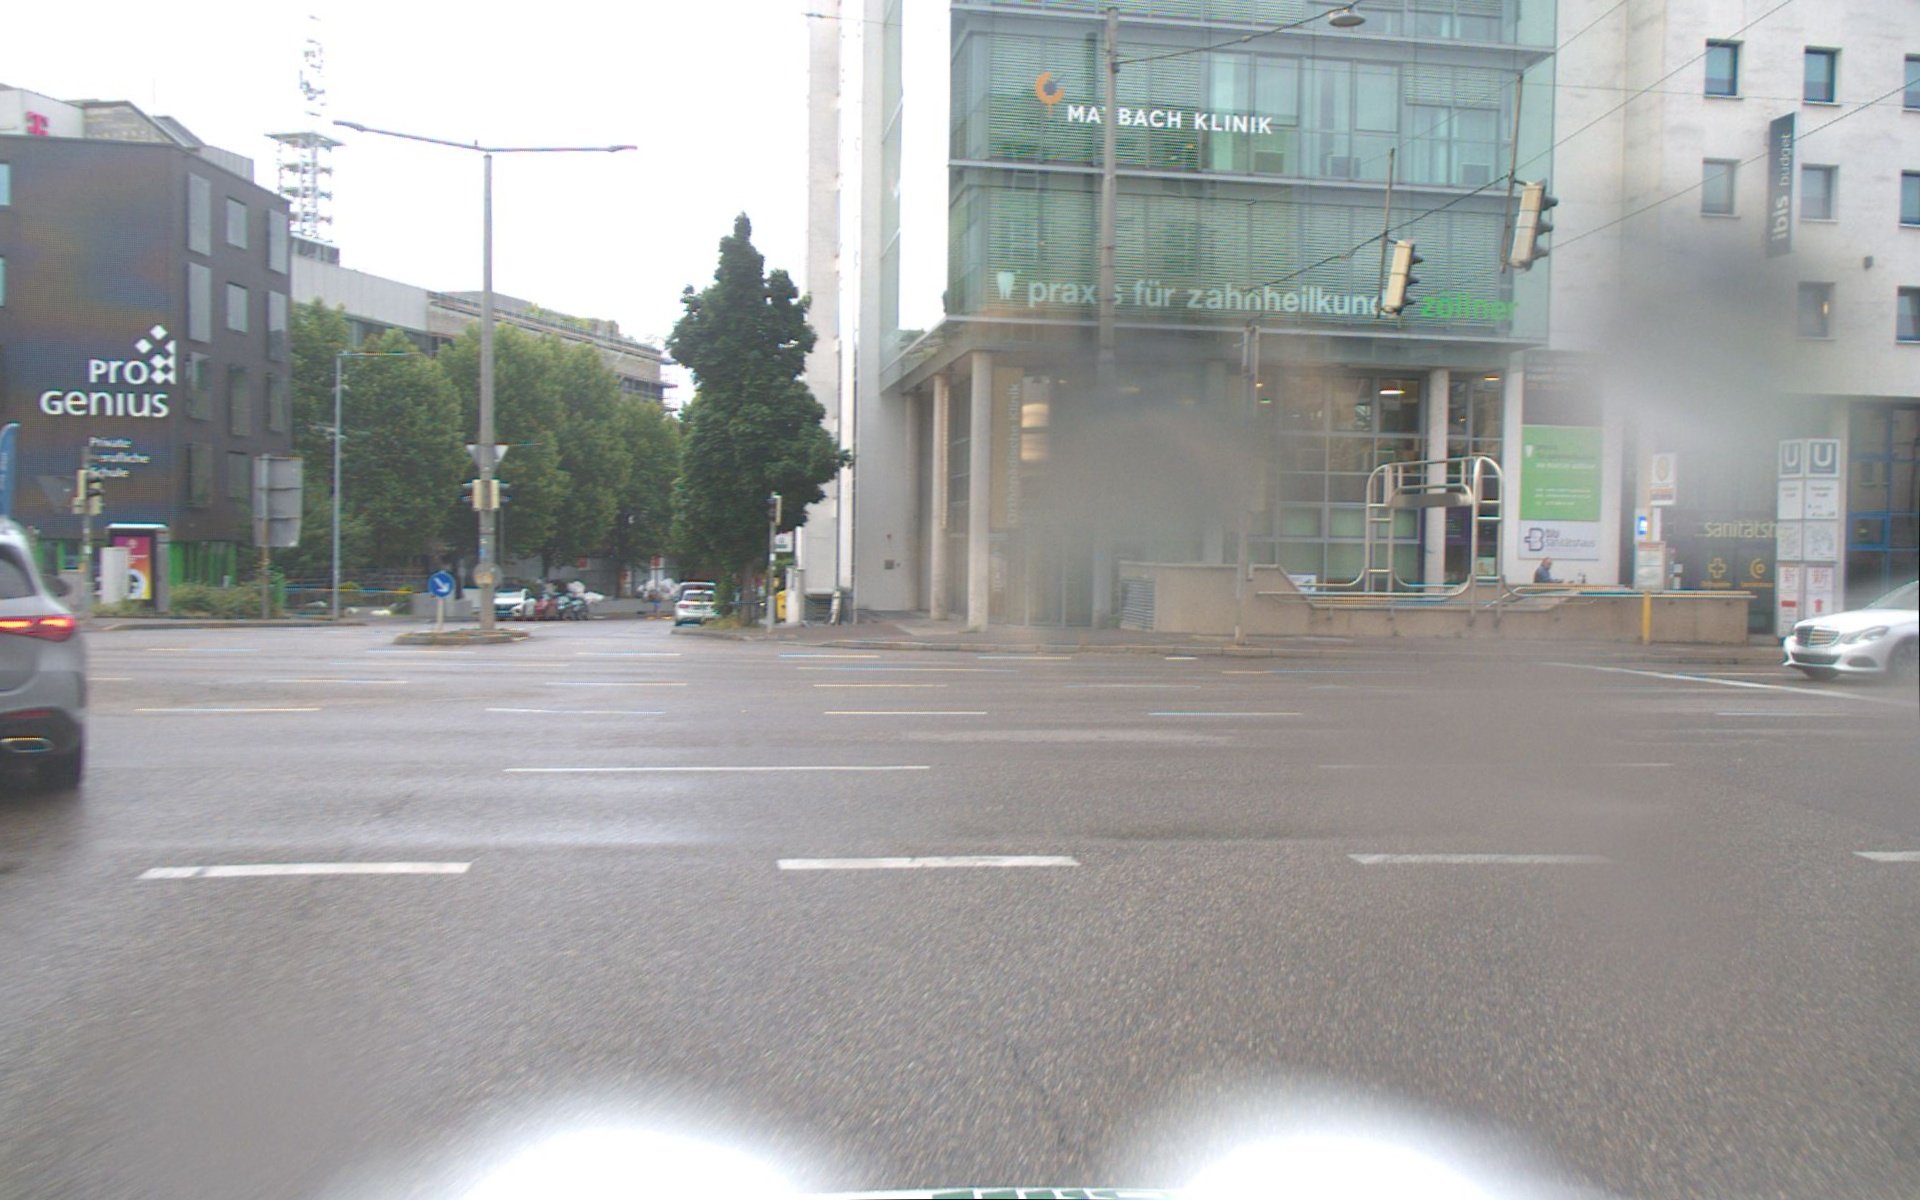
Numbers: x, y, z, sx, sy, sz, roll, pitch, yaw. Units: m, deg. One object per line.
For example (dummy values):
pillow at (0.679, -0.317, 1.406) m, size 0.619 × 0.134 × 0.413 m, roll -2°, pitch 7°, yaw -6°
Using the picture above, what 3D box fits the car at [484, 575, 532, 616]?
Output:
car at (-23.891, -0.212, 87.506) m, size 1.957 × 2.049 × 3.991 m, roll 2°, pitch 0°, yaw -10°

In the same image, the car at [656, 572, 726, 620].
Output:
car at (-10.477, -0.162, 64.239) m, size 1.963 × 1.747 × 3.978 m, roll 3°, pitch 0°, yaw -19°

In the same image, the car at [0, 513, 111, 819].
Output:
car at (-6.598, 0.278, 10.555) m, size 1.888 × 1.660 × 4.168 m, roll 0°, pitch 2°, yaw -30°

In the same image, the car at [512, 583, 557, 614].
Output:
car at (-23.771, -0.065, 92.582) m, size 1.646 × 1.622 × 3.854 m, roll 2°, pitch 0°, yaw -3°

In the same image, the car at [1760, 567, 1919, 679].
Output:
car at (13.592, 0.296, 22.386) m, size 4.858 × 1.411 × 1.819 m, roll 1°, pitch 2°, yaw -11°

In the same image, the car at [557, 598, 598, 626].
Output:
car at (-23.711, 0.730, 102.692) m, size 1.645 × 1.622 × 3.672 m, roll 2°, pitch 0°, yaw 0°
